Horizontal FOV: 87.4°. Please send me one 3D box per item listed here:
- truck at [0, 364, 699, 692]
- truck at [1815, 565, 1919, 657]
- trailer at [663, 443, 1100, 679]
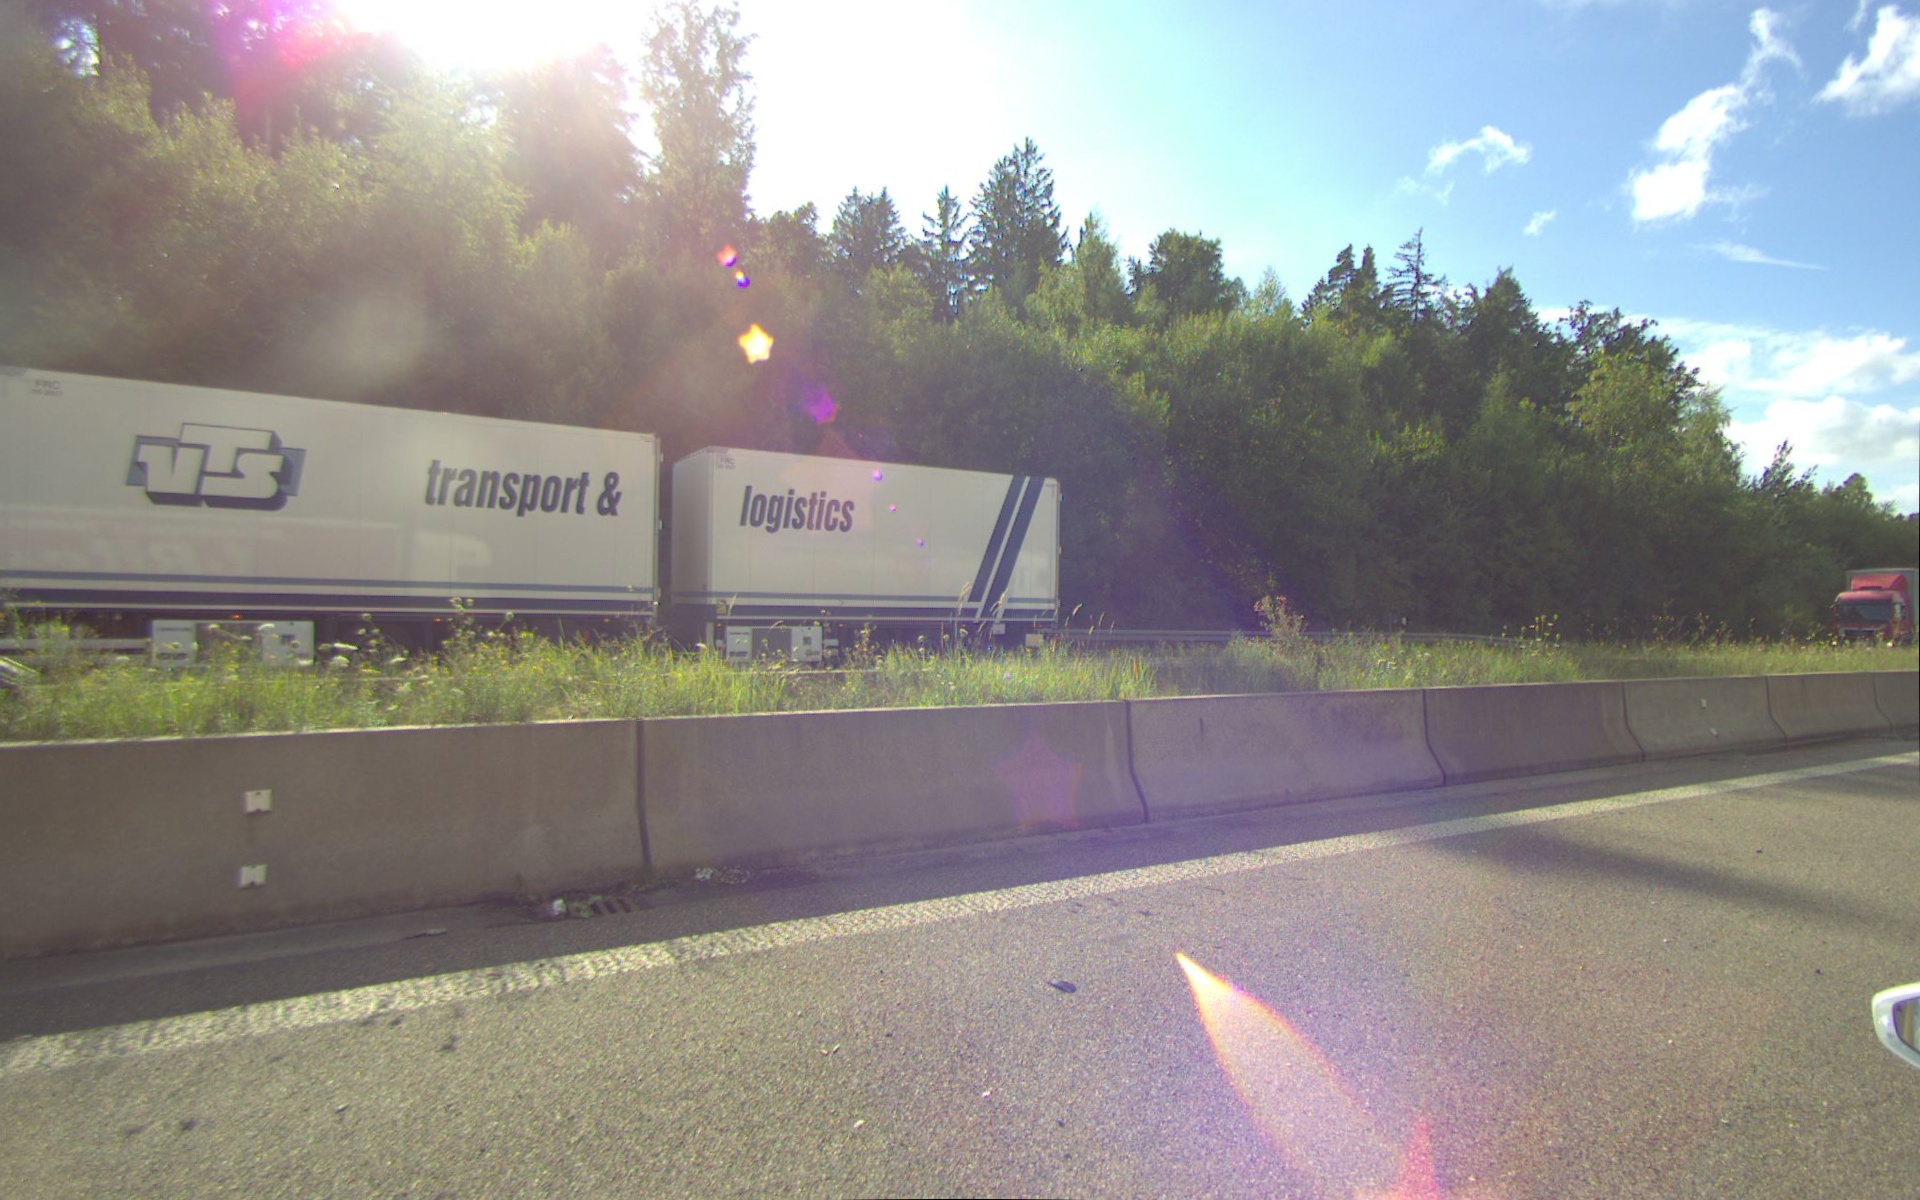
[{"bbox_3d":[-9.715,-0.802,15.277,10.737,4.038,2.768,2,0,-31],"label":"truck"},{"bbox_3d":[44.842,0.565,48.091,10.066,4.045,2.787,1,0,-31],"label":"truck"},{"bbox_3d":[-1.382,-0.548,20.298,8.392,3.975,2.776,2,0,-31],"label":"trailer"}]
